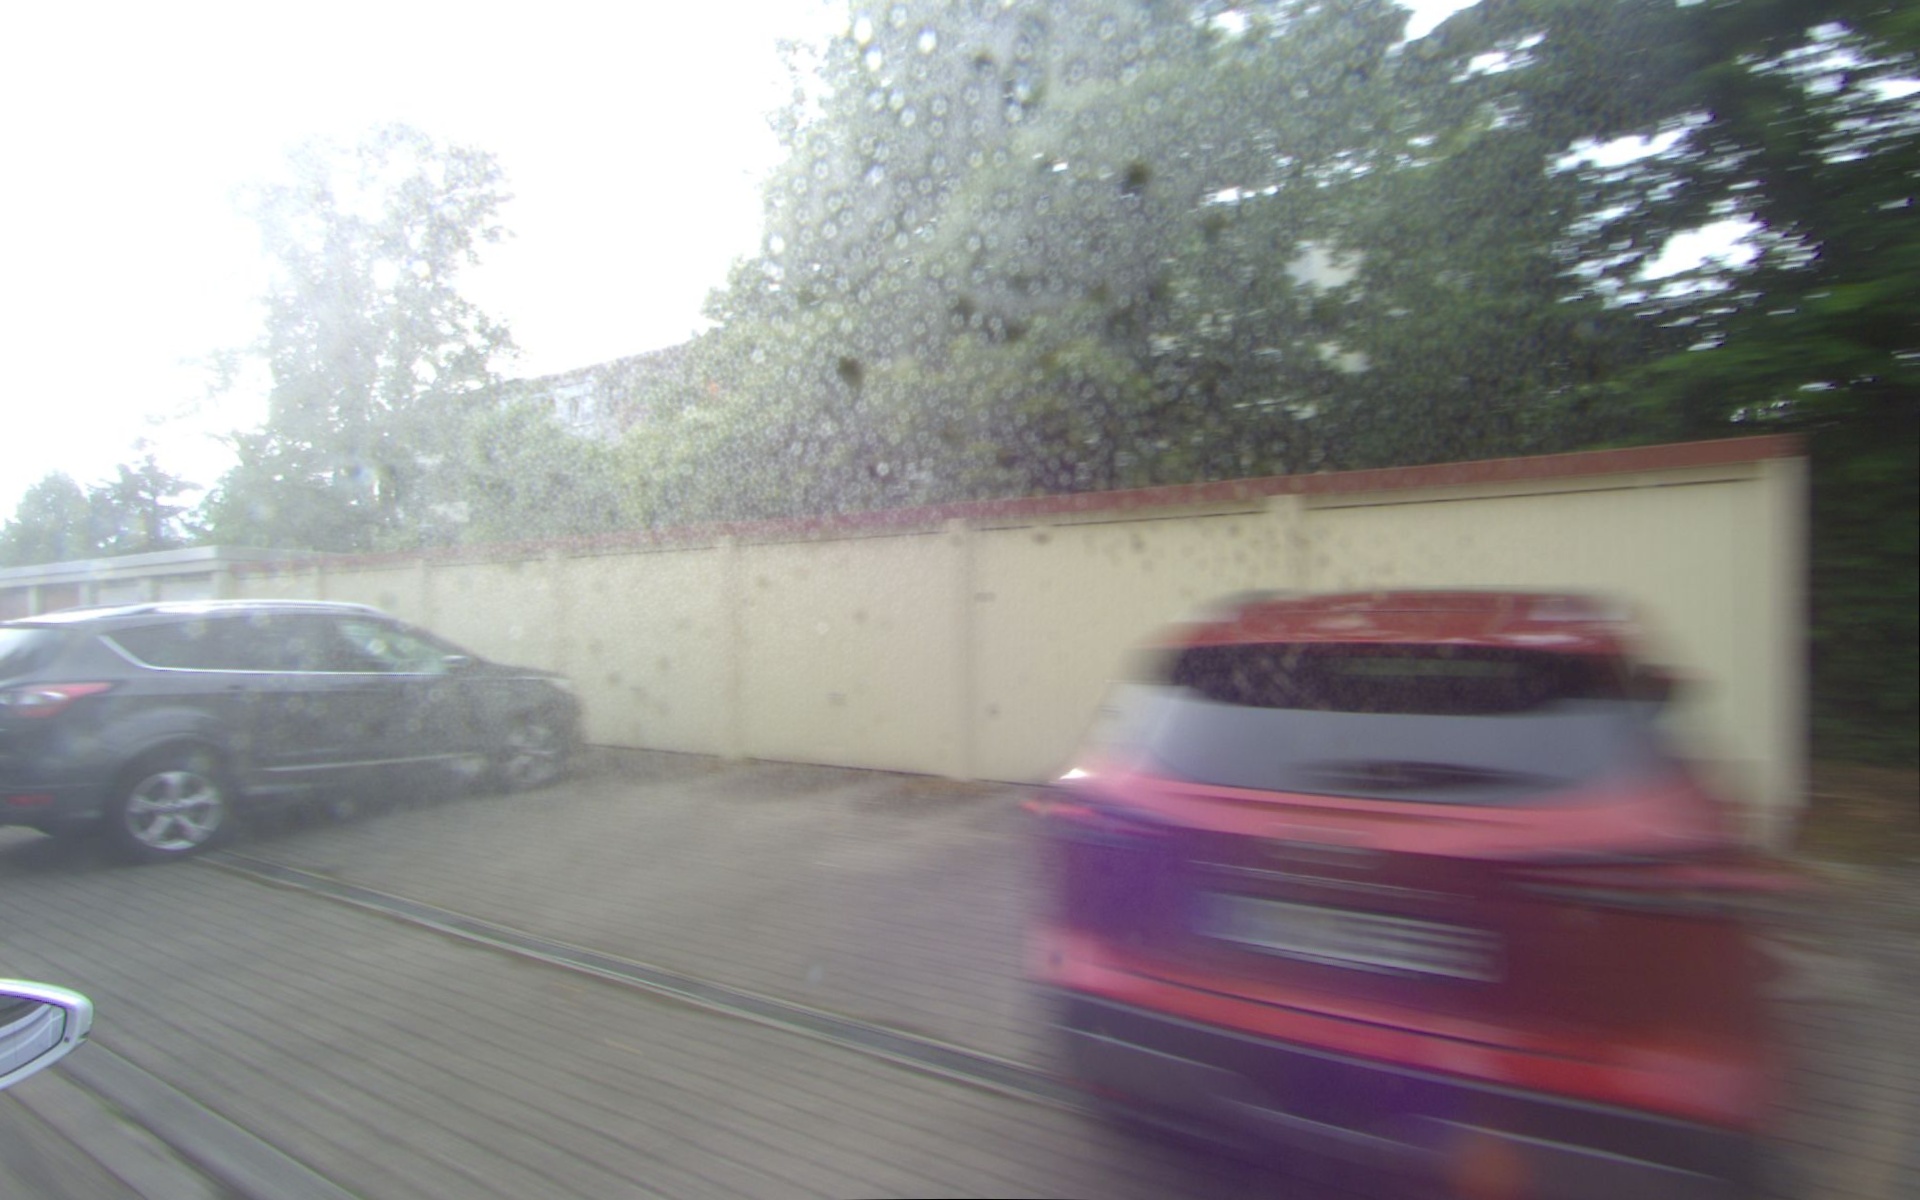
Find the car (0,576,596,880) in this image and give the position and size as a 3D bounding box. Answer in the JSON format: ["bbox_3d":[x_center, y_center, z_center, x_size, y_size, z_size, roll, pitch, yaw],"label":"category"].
[{"bbox_3d":[-5.322,0.717,8.036,1.971,1.750,4.186,0,1,32],"label":"car"}]

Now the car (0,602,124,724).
[{"bbox_3d":[-14.882,0.923,14.388,1.971,1.726,3.979,0,1,32],"label":"car"}]

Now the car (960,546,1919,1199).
[{"bbox_3d":[1.919,0.693,3.898,1.907,1.607,4.279,0,1,31],"label":"car"}]
